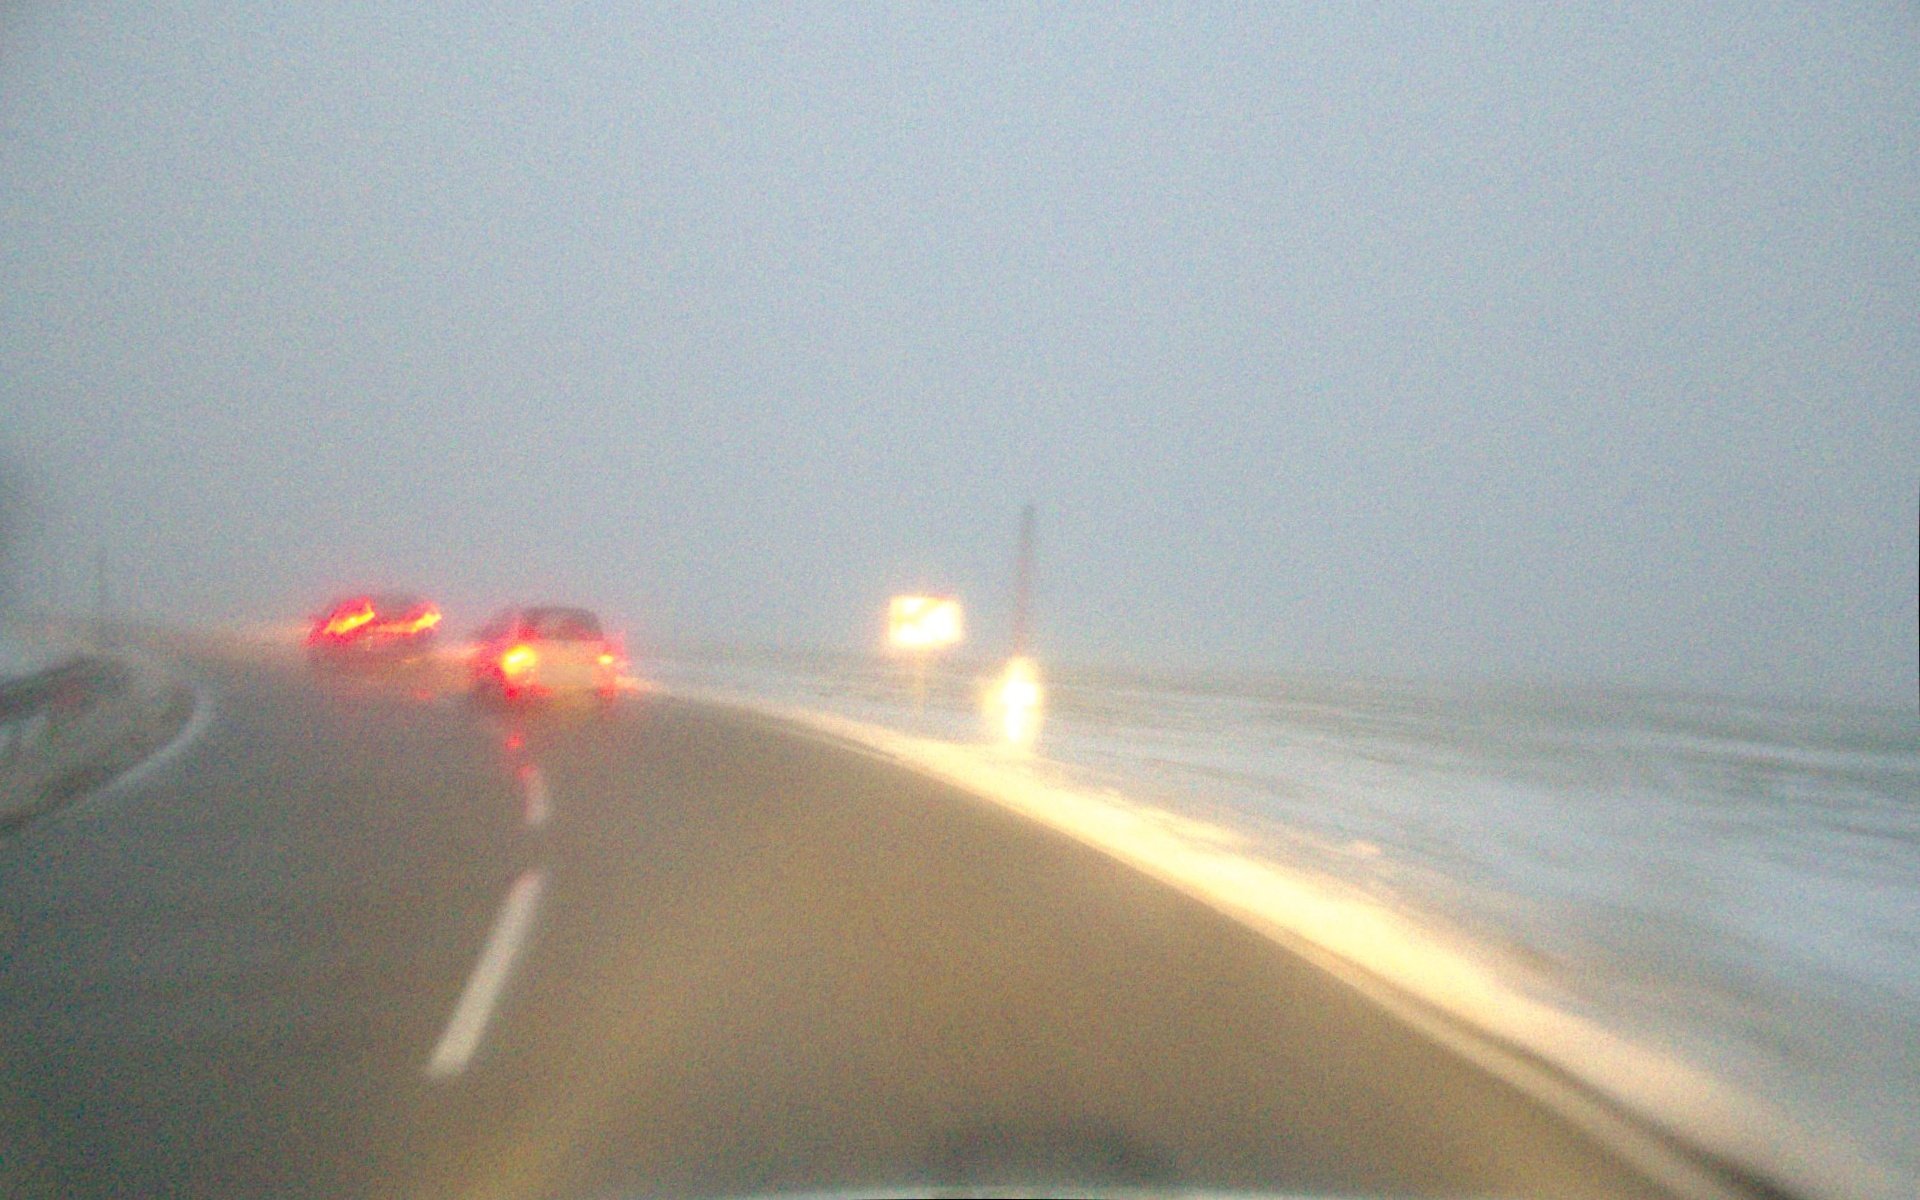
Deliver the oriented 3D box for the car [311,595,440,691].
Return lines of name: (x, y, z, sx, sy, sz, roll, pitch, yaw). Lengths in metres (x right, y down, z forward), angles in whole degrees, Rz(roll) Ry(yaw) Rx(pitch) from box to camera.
car: (-11.894, 0.861, 33.518, 1.970, 1.814, 3.964, 0, -1, -27)

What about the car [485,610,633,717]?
car: (-5.848, 0.871, 23.965, 1.914, 1.405, 3.983, 0, -1, -15)
